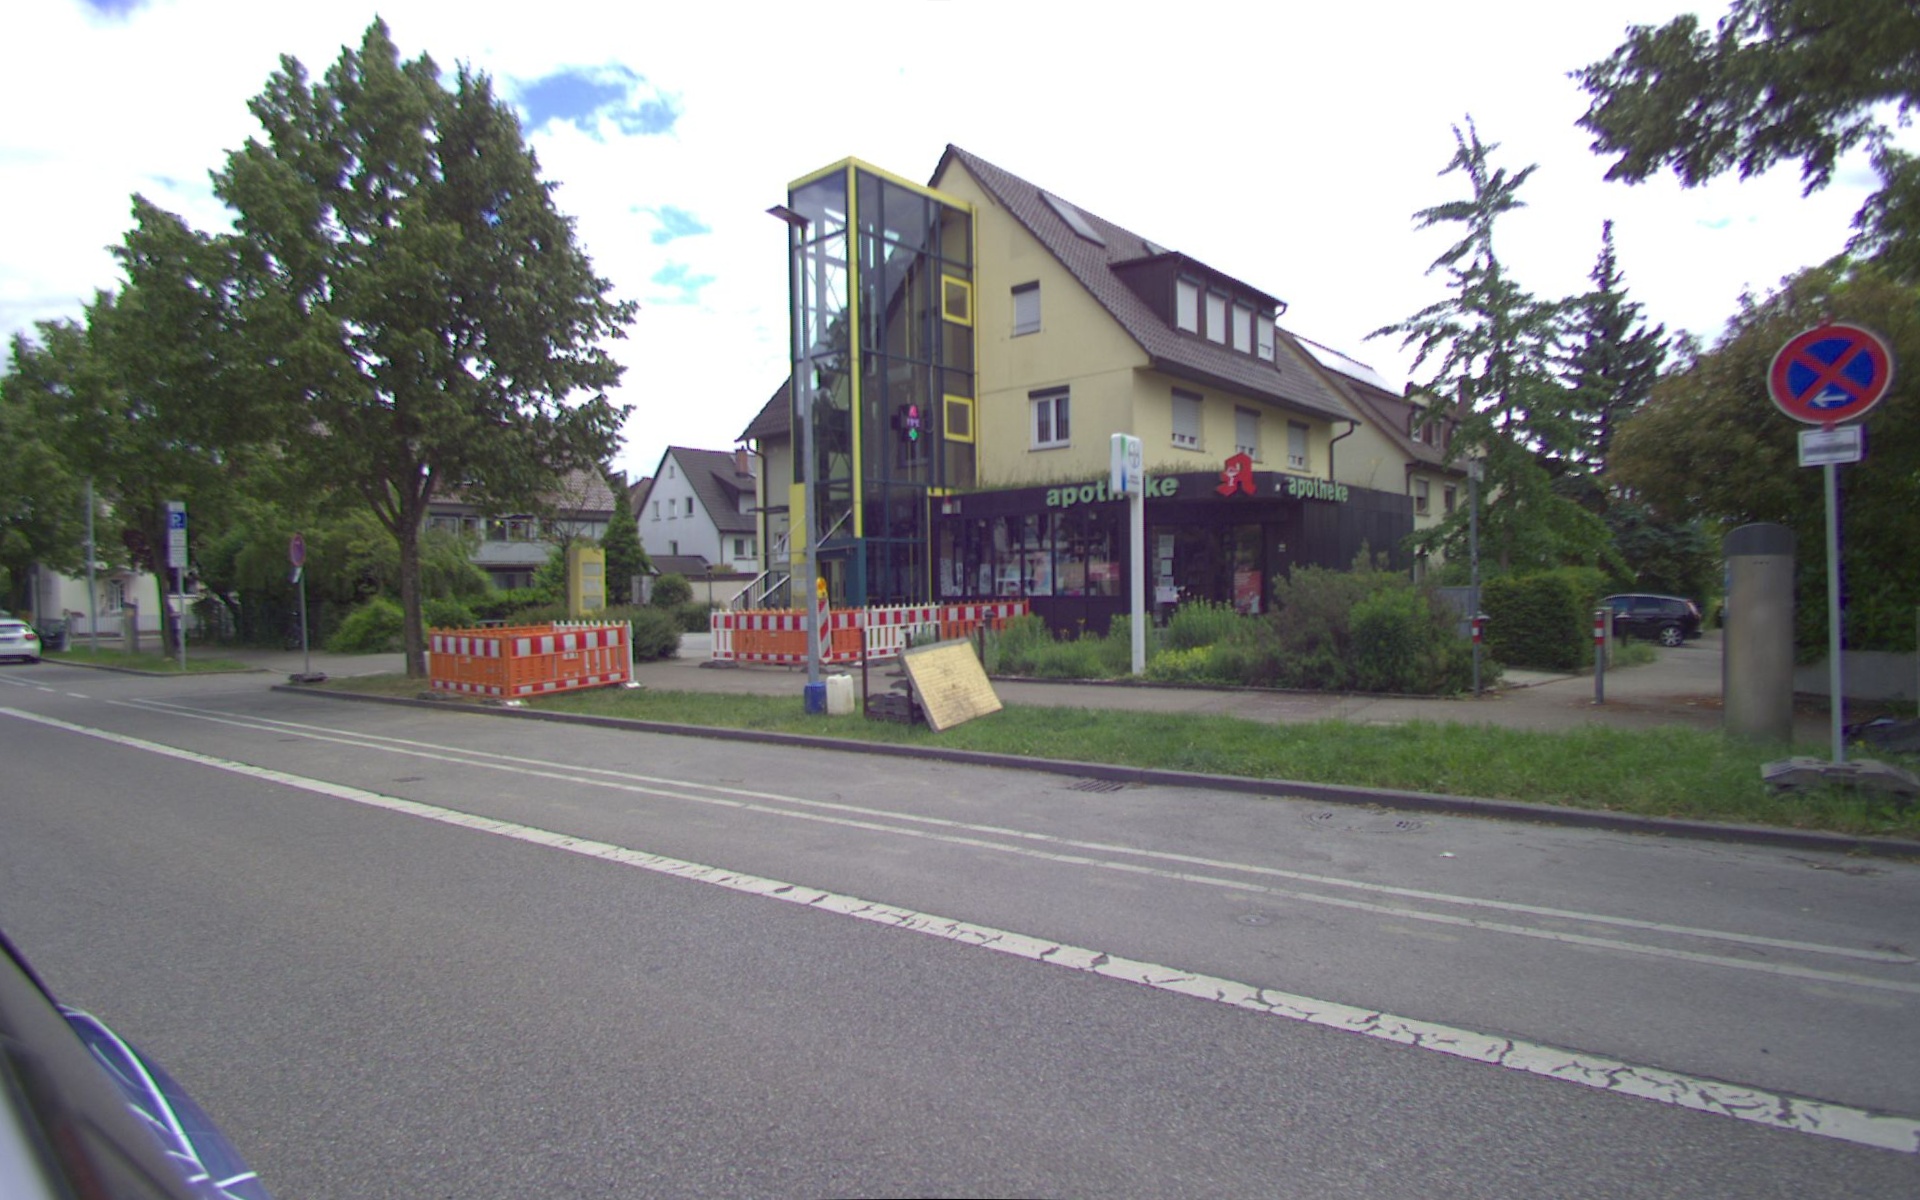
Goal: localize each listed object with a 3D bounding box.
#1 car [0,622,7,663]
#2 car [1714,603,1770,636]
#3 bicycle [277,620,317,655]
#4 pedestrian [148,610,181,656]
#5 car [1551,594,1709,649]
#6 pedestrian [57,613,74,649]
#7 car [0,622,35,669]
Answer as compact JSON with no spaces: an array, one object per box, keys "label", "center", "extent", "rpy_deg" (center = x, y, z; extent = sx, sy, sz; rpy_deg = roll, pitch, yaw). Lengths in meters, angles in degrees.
[{"label":"car","center":[-36.022,1.541,36.750],"extent":[4.017,1.431,1.626],"rpy_deg":[-1,-1,40]},{"label":"car","center":[38.555,0.940,49.955],"extent":[1.783,1.536,3.956],"rpy_deg":[-2,-1,32]},{"label":"bicycle","center":[-20.729,1.161,31.631],"extent":[1.578,1.056,0.458],"rpy_deg":[-1,0,34]},{"label":"pedestrian","center":[-27.025,1.122,34.387],"extent":[0.690,1.540,0.582],"rpy_deg":[-1,0,6]},{"label":"car","center":[21.372,0.688,32.362],"extent":[3.998,1.659,1.764],"rpy_deg":[-2,-1,41]},{"label":"pedestrian","center":[-39.072,1.337,44.192],"extent":[0.806,1.563,0.425],"rpy_deg":[-1,0,41]},{"label":"car","center":[-31.101,1.435,32.521],"extent":[4.300,1.417,1.695],"rpy_deg":[-1,-1,43]}]
